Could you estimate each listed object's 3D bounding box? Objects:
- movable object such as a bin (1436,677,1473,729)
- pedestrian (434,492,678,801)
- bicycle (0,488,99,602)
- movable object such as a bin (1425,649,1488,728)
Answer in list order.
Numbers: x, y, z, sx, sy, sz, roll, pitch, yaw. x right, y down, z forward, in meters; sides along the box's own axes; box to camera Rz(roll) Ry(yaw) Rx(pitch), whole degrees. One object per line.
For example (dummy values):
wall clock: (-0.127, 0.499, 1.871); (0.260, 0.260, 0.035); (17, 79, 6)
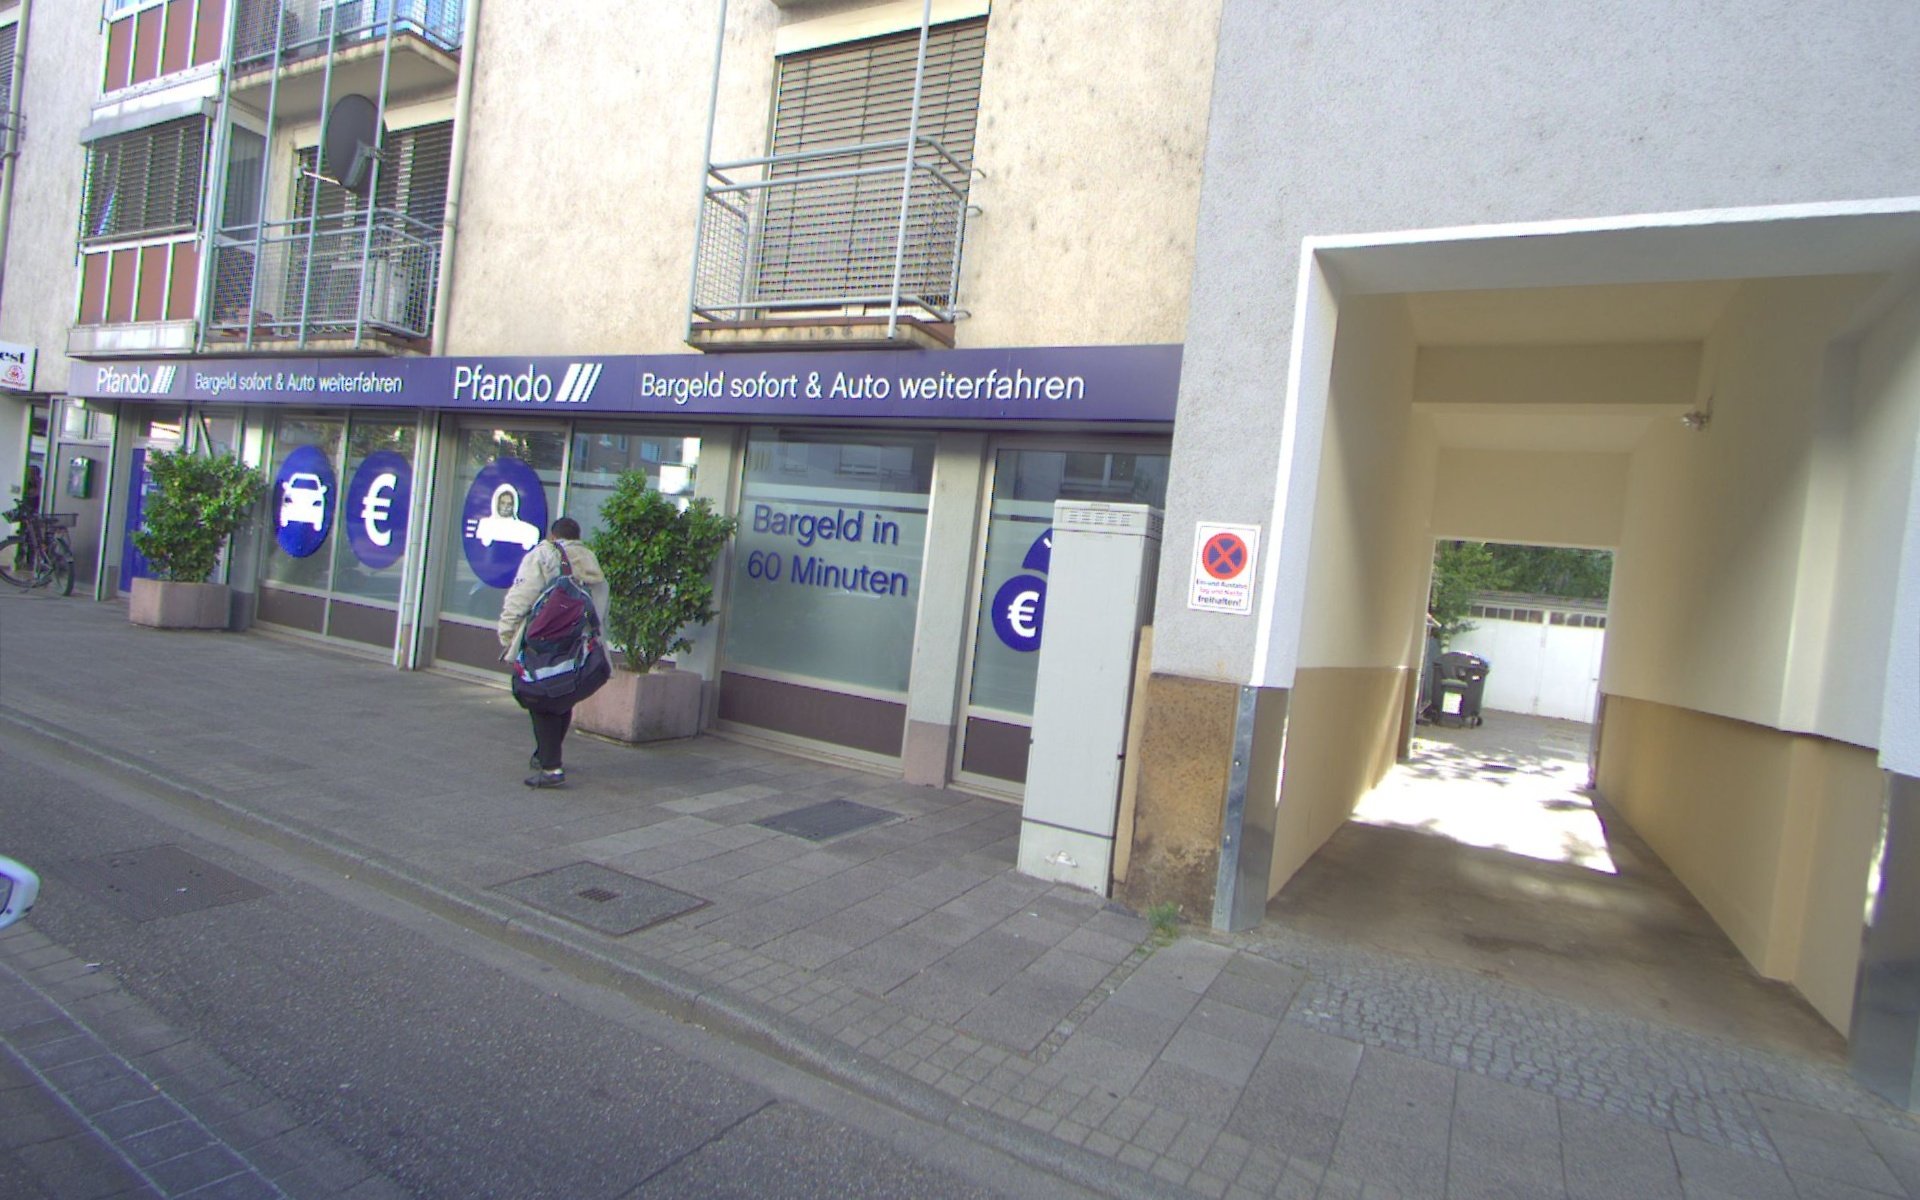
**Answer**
movable object such as a bin: (9.563, 1.977, 19.451); (0.518, 0.922, 0.580); (7, 1, 29)
pedestrian: (-2.352, 0.240, 5.890); (0.853, 1.593, 0.874); (8, 3, 29)
bicycle: (-11.841, -0.729, 12.876); (1.879, 1.280, 0.640); (7, 1, 32)
movable object such as a bin: (10.115, 1.784, 20.454); (0.945, 1.426, 1.598); (7, 1, 29)
